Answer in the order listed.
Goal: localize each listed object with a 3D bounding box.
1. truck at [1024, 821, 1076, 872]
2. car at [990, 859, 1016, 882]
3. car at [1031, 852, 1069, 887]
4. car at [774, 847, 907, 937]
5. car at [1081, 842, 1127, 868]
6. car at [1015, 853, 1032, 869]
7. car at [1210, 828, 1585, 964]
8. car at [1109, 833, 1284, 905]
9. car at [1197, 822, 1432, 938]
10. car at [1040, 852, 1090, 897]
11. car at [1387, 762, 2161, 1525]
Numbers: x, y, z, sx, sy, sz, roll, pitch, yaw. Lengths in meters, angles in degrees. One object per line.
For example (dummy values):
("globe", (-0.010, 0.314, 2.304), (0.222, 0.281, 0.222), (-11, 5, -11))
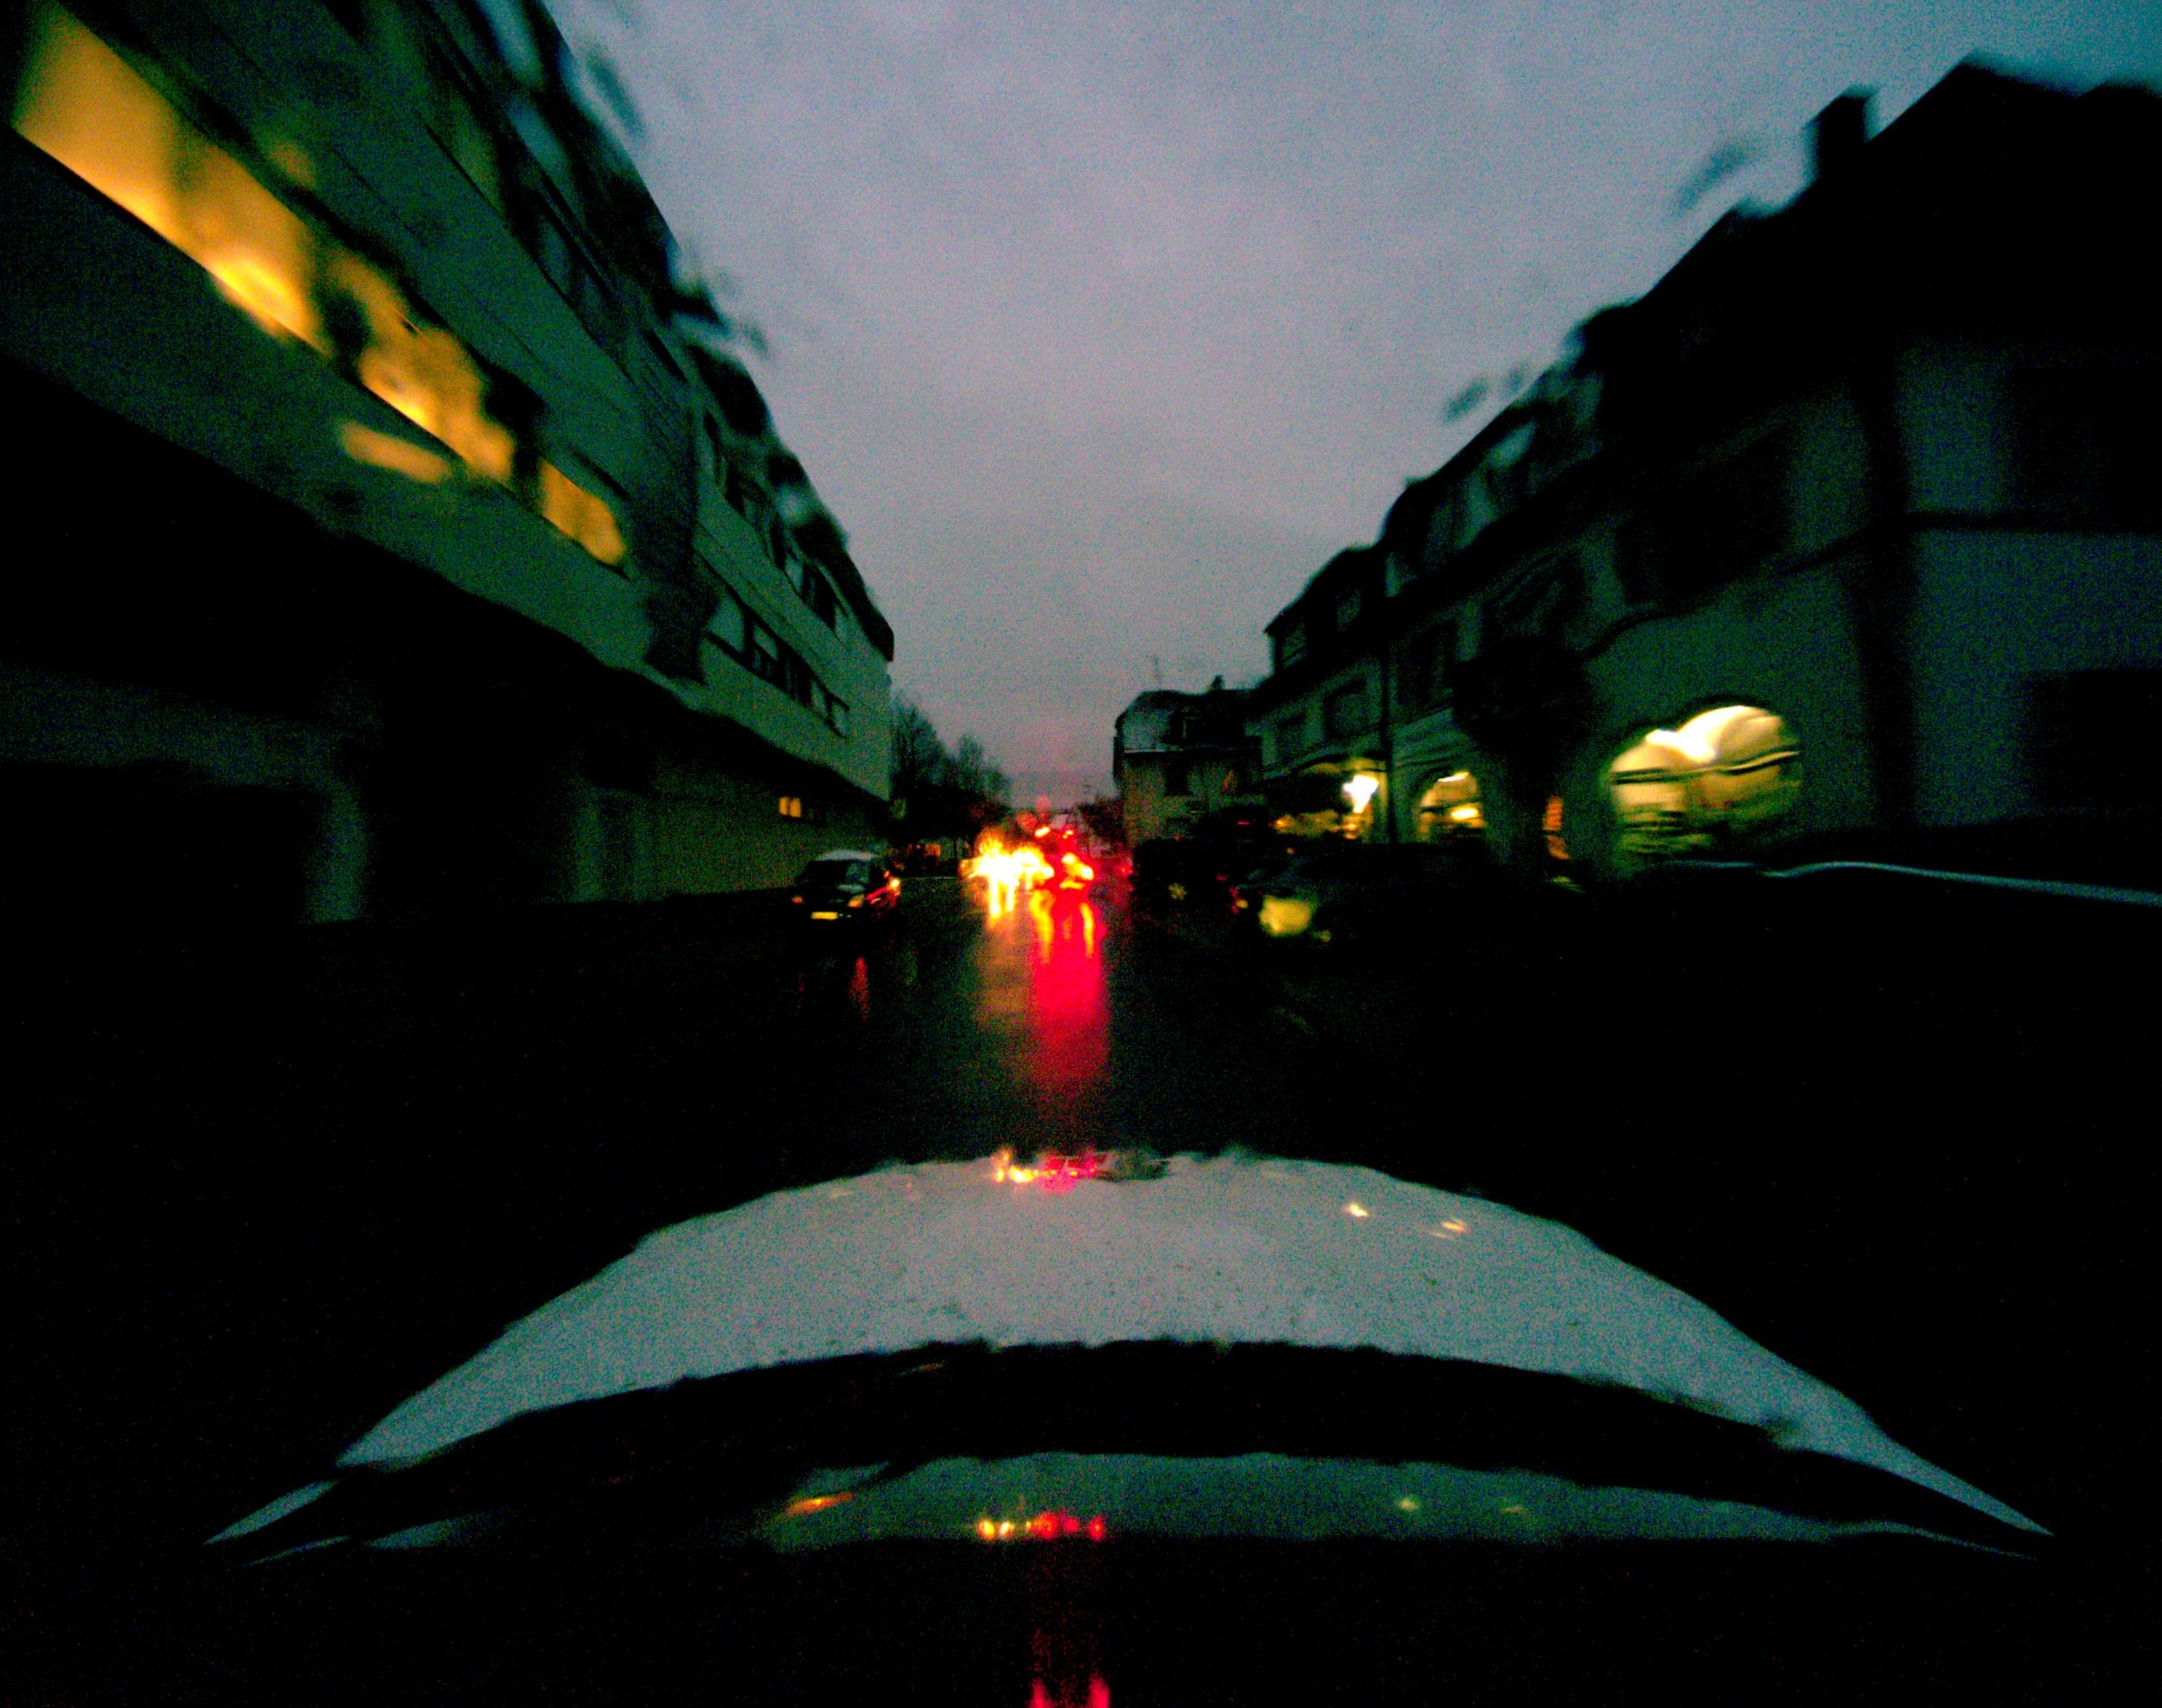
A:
("truck", (-2.163, -0.479, 54.296), (3.011, 3.128, 7.985), (-1, 0, -5))
("car", (-5.582, 1.131, 58.333), (1.634, 1.535, 3.403), (-1, 0, -2))
("car", (-1.434, 0.683, 36.995), (1.634, 1.481, 3.268), (-1, 0, -3))
("car", (-4.837, 0.684, 16.929), (1.790, 1.642, 3.808), (0, 0, -3))
("car", (2.086, 0.077, 73.273), (4.079, 2.163, 1.915), (-1, 0, 3))
("car", (-6.396, 0.764, 90.576), (1.807, 1.596, 4.394), (-1, 0, -4))
("car", (4.241, 0.513, 11.352), (4.459, 1.473, 1.895), (-3, 0, -5))
("car", (3.270, 0.391, 23.492), (4.600, 1.775, 1.940), (-2, 0, -8))
("car", (4.006, 0.408, 14.282), (3.503, 1.680, 1.711), (-4, 0, -9))
("car", (-0.566, 0.675, 28.590), (1.634, 1.481, 3.376), (-1, 0, -2))
("car", (3.086, 0.533, 3.259), (1.877, 1.547, 4.670), (-3, 0, -1))
